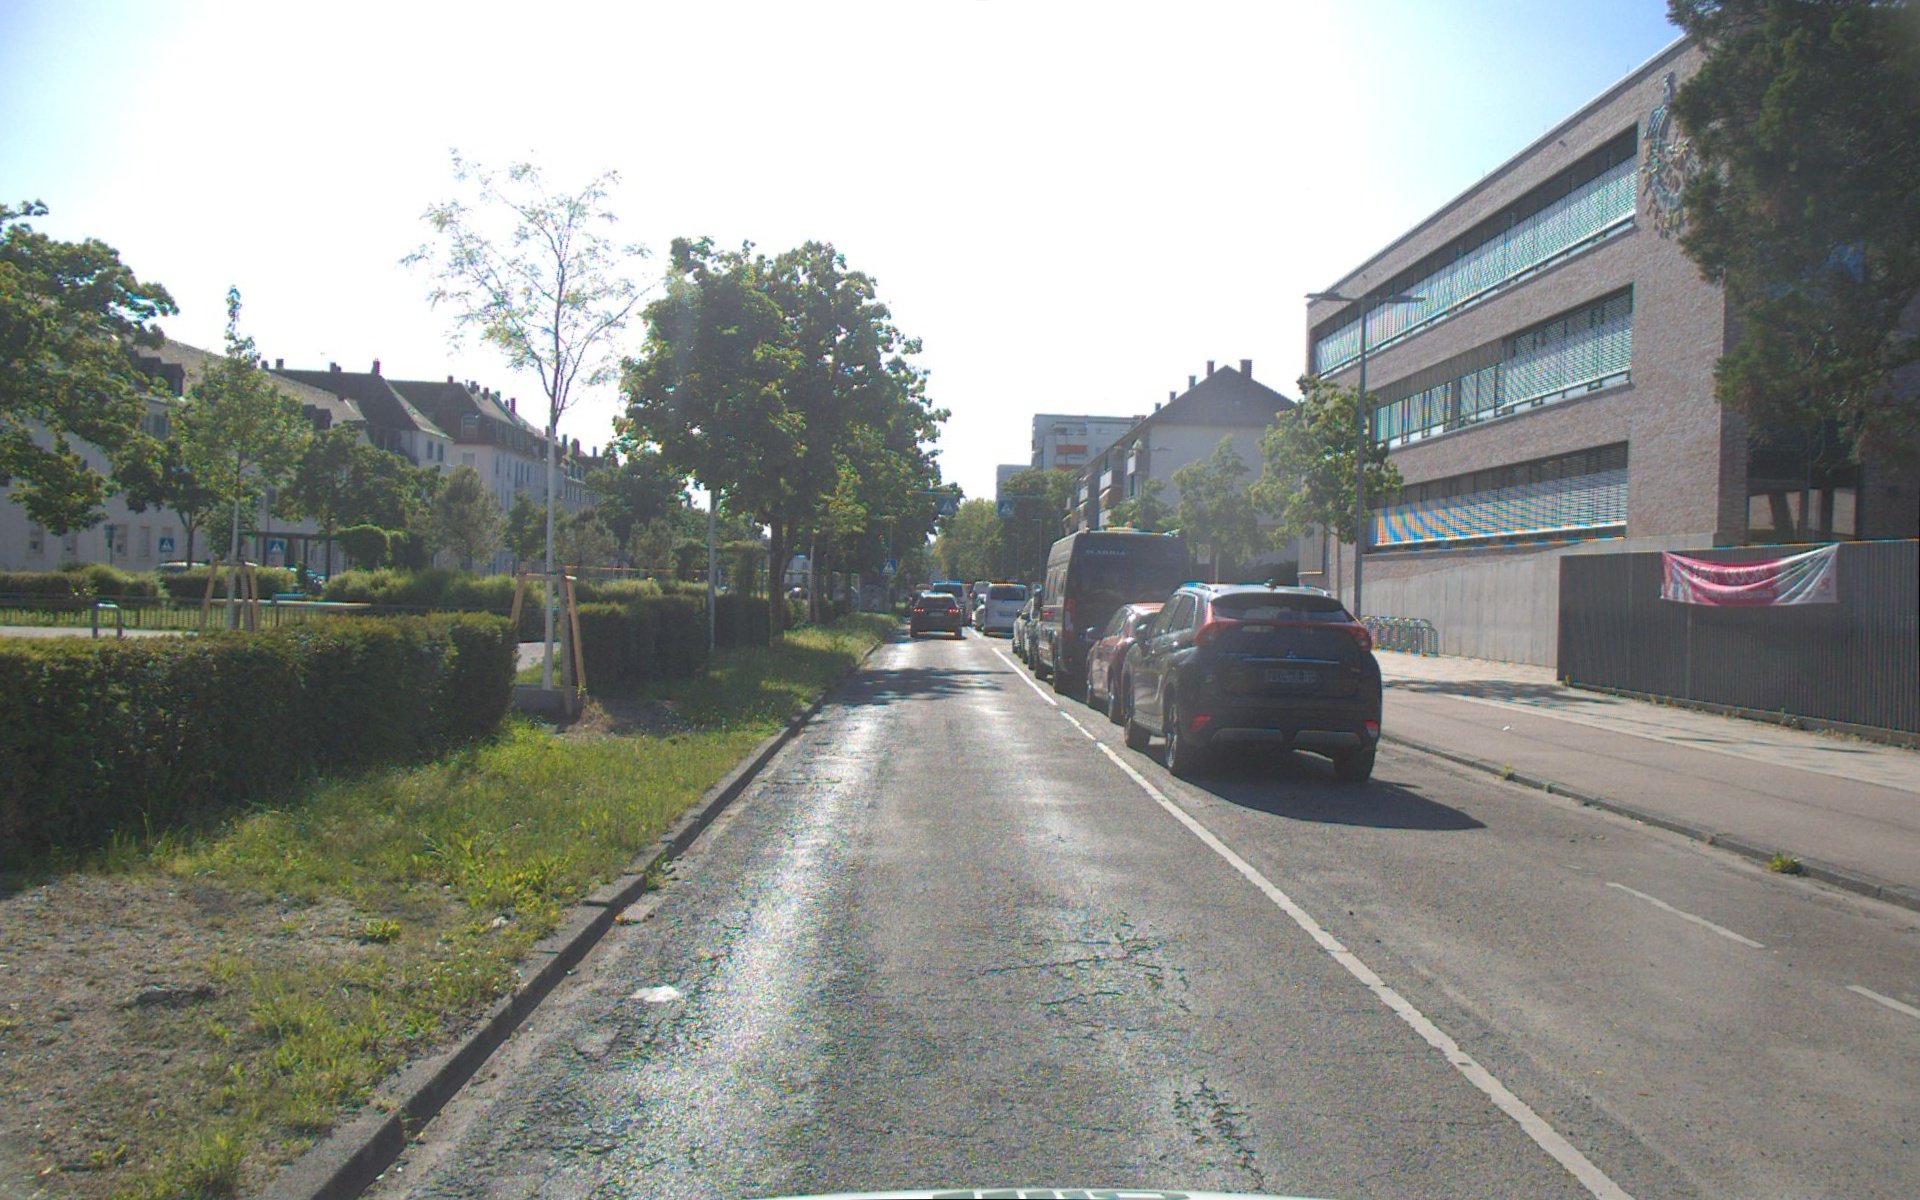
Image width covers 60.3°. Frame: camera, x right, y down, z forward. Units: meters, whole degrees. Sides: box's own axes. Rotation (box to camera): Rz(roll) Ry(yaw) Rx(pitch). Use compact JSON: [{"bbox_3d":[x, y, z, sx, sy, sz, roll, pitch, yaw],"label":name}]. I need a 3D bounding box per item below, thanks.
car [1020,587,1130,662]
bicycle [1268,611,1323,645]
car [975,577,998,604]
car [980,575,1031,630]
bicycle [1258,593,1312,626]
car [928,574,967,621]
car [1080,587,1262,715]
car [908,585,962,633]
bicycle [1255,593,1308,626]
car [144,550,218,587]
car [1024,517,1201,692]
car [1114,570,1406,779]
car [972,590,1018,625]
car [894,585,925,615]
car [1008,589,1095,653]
[{"bbox_3d":[2.401,0.495,35.541,1.953,1.445,4.635,2,0,-1],"label":"car"},{"bbox_3d":[11.406,0.942,56.300,1.758,1.127,0.500,0,0,-4],"label":"bicycle"},{"bbox_3d":[2.538,-0.886,159.862,1.953,2.472,4.499,4,0,-1],"label":"car"},{"bbox_3d":[1.664,0.068,61.469,1.757,1.887,4.413,2,0,1],"label":"car"},{"bbox_3d":[11.298,0.328,57.540,1.758,1.127,0.500,0,0,-4],"label":"bicycle"},{"bbox_3d":[-0.591,-0.134,79.450,1.758,2.159,3.999,2,0,-1],"label":"car"},{"bbox_3d":[2.676,0.605,21.860,1.758,1.480,3.948,2,0,-2],"label":"car"},{"bbox_3d":[-0.851,0.289,57.067,1.758,1.536,3.999,2,0,-1],"label":"car"},{"bbox_3d":[11.278,0.326,58.066,1.758,1.127,0.500,0,0,-4],"label":"bicycle"},{"bbox_3d":[-38.112,-1.539,80.987,1.758,1.680,3.999,2,0,-2],"label":"car"},{"bbox_3d":[2.429,0.055,28.136,2.073,2.559,6.529,2,0,-2],"label":"car"},{"bbox_3d":[2.682,0.608,15.864,1.809,1.669,4.502,2,0,-2],"label":"car"},{"bbox_3d":[1.405,0.317,68.198,1.729,1.342,4.167,3,-1,-1],"label":"car"},{"bbox_3d":[-3.008,-0.010,99.514,1.758,1.652,3.999,2,0,-1],"label":"car"},{"bbox_3d":[2.243,0.486,41.443,1.758,1.445,4.656,2,0,-2],"label":"car"}]
